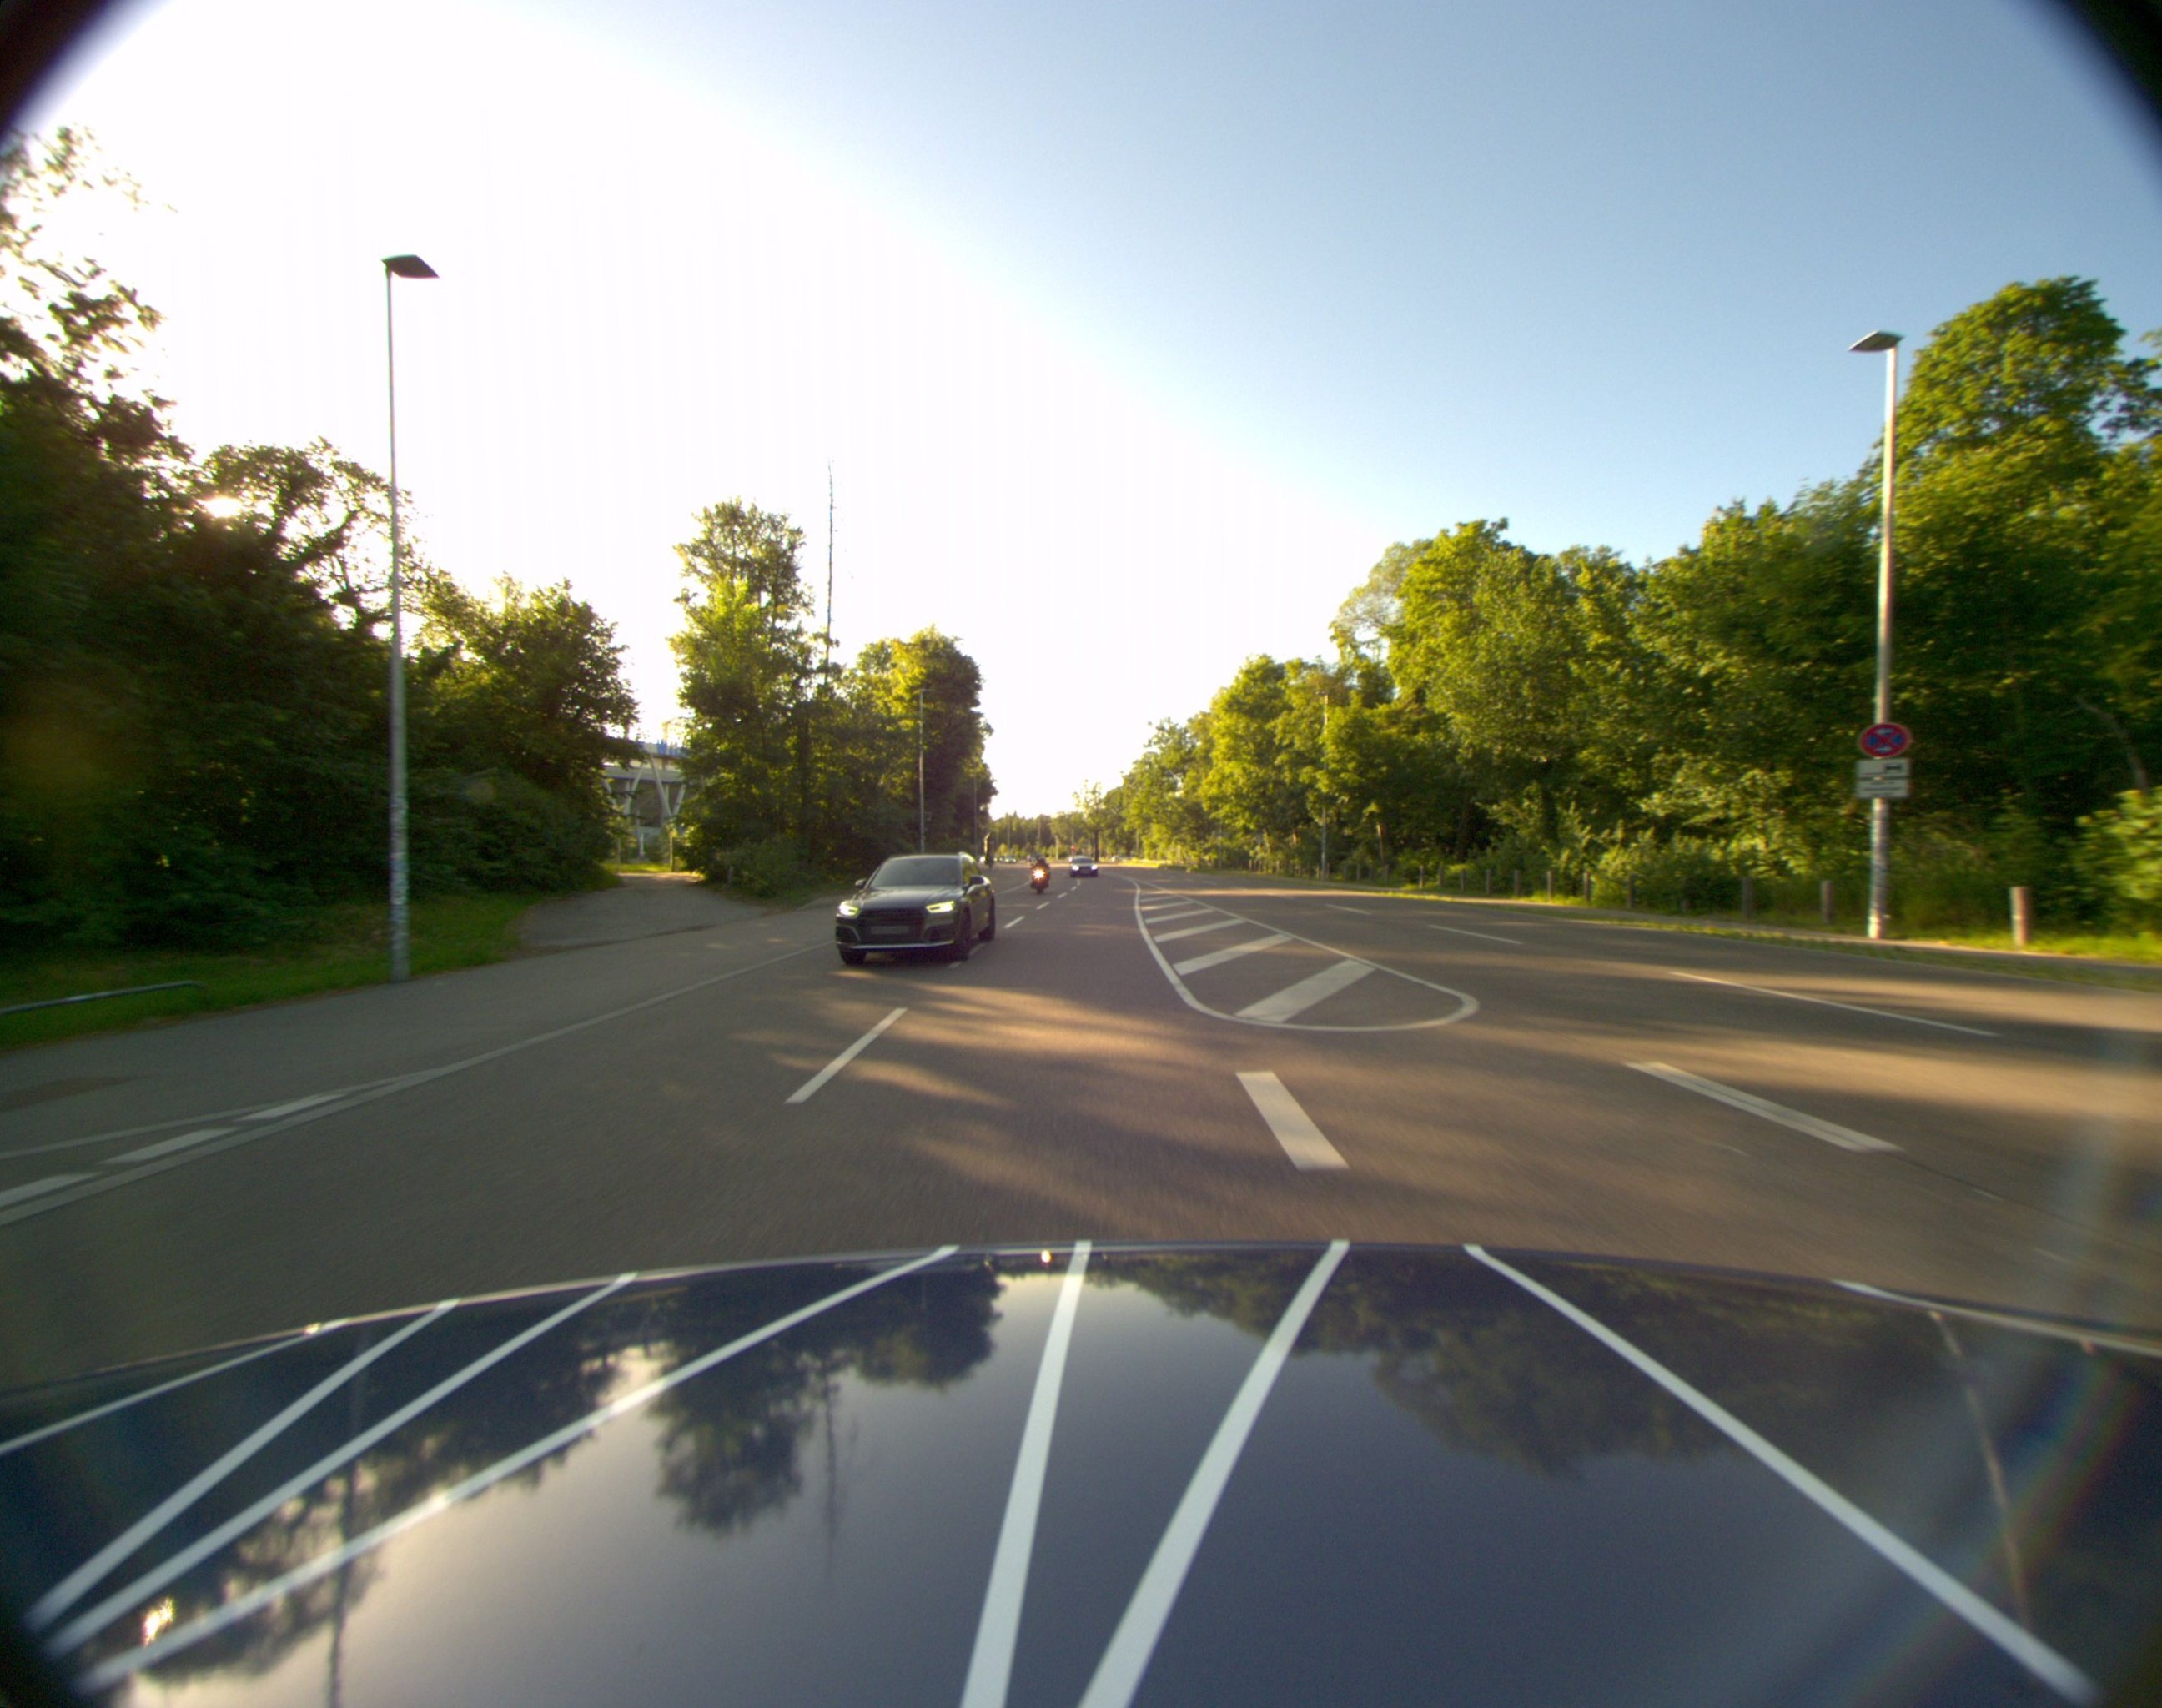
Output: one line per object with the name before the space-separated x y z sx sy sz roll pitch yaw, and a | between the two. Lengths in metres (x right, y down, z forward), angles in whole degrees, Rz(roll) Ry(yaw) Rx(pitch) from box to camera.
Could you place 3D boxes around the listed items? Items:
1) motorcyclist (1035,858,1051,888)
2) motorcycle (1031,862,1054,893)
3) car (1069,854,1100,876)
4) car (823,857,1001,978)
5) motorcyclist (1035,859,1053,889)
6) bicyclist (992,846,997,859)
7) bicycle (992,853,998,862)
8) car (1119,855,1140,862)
motorcyclist | -1.678 0.839 33.627 0.671 1.257 0.825 -2 1 -2
motorcycle | -1.666 0.993 32.668 0.916 1.243 2.961 -2 0 -3
car | 0.187 0.752 55.762 1.868 1.538 4.794 -1 0 -5
car | -2.592 0.894 12.865 1.897 1.596 4.544 -2 0 1
motorcyclist | -1.597 0.849 32.658 0.671 1.257 0.825 -2 1 -6
bicyclist | -10.063 -0.158 88.597 0.522 1.460 0.860 -1 1 -12
bicycle | -10.033 0.409 88.622 0.556 1.130 1.862 0 0 -12
car | 10.881 0.965 170.371 4.301 1.504 1.837 -1 1 -12
